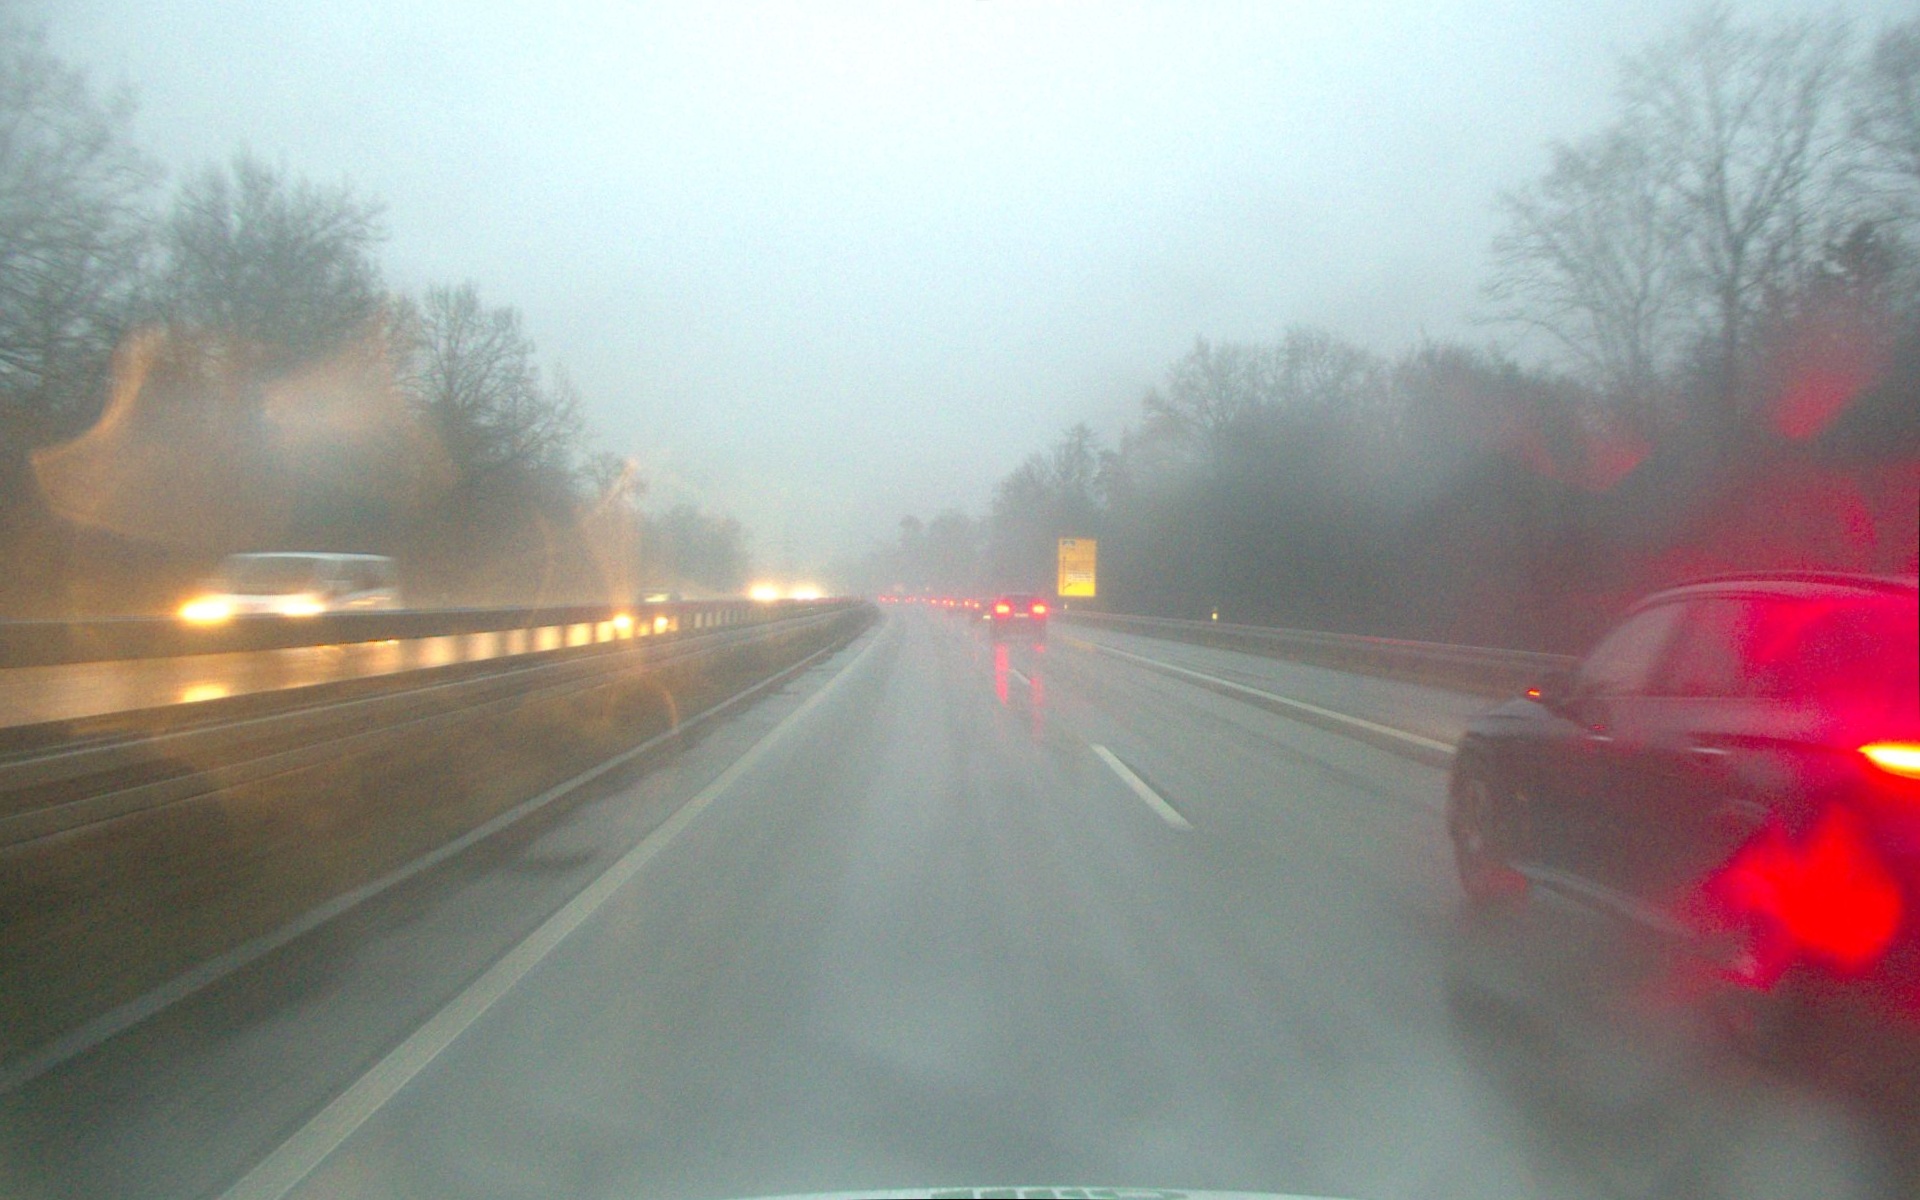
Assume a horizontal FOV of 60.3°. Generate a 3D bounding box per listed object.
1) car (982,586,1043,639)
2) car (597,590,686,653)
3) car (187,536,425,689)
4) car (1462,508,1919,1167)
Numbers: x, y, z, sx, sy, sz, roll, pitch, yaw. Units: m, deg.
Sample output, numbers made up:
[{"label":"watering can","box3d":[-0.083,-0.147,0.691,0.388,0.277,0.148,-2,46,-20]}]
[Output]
[{"label":"car","box3d":[1.808,0.435,58.120,1.951,1.745,3.829,1,0,-1]},{"label":"car","box3d":[-7.973,0.528,41.637,1.598,1.493,3.522,1,0,-1]},{"label":"car","box3d":[-11.106,0.208,28.593,1.990,2.357,5.459,1,0,-1]},{"label":"car","box3d":[3.558,0.680,6.497,1.885,1.823,3.939,1,0,-2]}]
